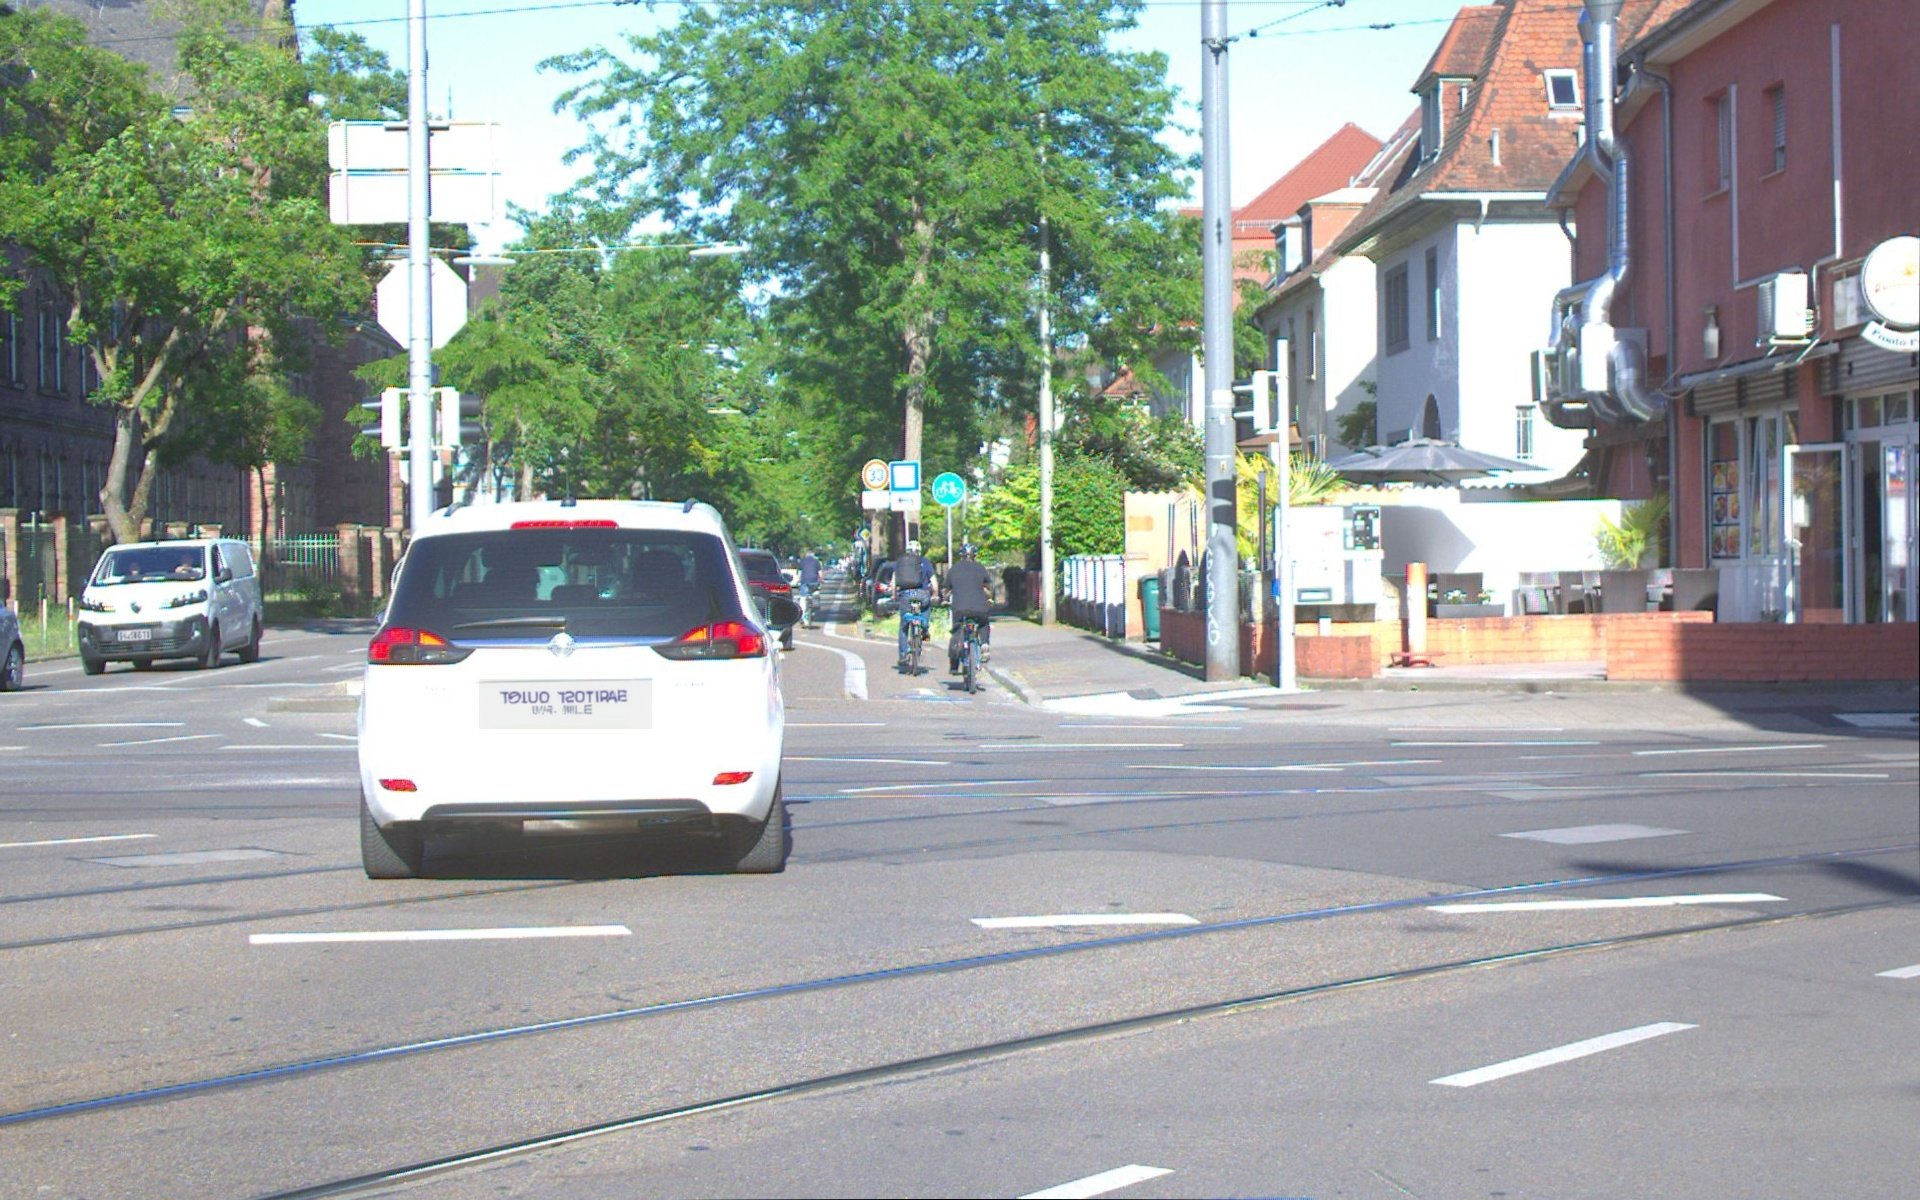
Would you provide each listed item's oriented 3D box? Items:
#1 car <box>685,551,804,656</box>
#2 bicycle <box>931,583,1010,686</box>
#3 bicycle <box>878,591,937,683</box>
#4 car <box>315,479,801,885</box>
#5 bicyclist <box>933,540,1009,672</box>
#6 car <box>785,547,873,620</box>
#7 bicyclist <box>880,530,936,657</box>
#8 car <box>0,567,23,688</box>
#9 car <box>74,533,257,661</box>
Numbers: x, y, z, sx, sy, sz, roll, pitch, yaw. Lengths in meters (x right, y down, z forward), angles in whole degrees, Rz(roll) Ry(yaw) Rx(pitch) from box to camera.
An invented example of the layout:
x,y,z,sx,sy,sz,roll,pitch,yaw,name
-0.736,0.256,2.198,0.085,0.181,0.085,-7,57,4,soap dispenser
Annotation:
x,y,z,sx,sy,sz,roll,pitch,yaw,name
-3.461,0.039,55.739,1.776,1.626,3.881,0,0,-1,car
0.112,0.382,39.580,0.829,1.150,2.095,0,0,-2,bicycle
-0.678,0.472,44.824,0.685,1.153,1.619,1,0,1,bicycle
-1.724,0.324,15.942,1.835,1.636,3.919,0,0,-1,car
0.123,0.068,39.453,0.821,1.496,0.934,0,0,-2,bicyclist
-2.956,-0.377,78.260,1.776,1.626,3.880,0,0,1,car
-0.675,-0.089,44.844,0.685,1.629,1.015,0,0,1,bicyclist
-12.123,0.322,39.699,1.581,1.436,3.584,0,0,1,car
-11.487,-0.050,49.928,1.892,1.777,3.881,0,0,-2,car
